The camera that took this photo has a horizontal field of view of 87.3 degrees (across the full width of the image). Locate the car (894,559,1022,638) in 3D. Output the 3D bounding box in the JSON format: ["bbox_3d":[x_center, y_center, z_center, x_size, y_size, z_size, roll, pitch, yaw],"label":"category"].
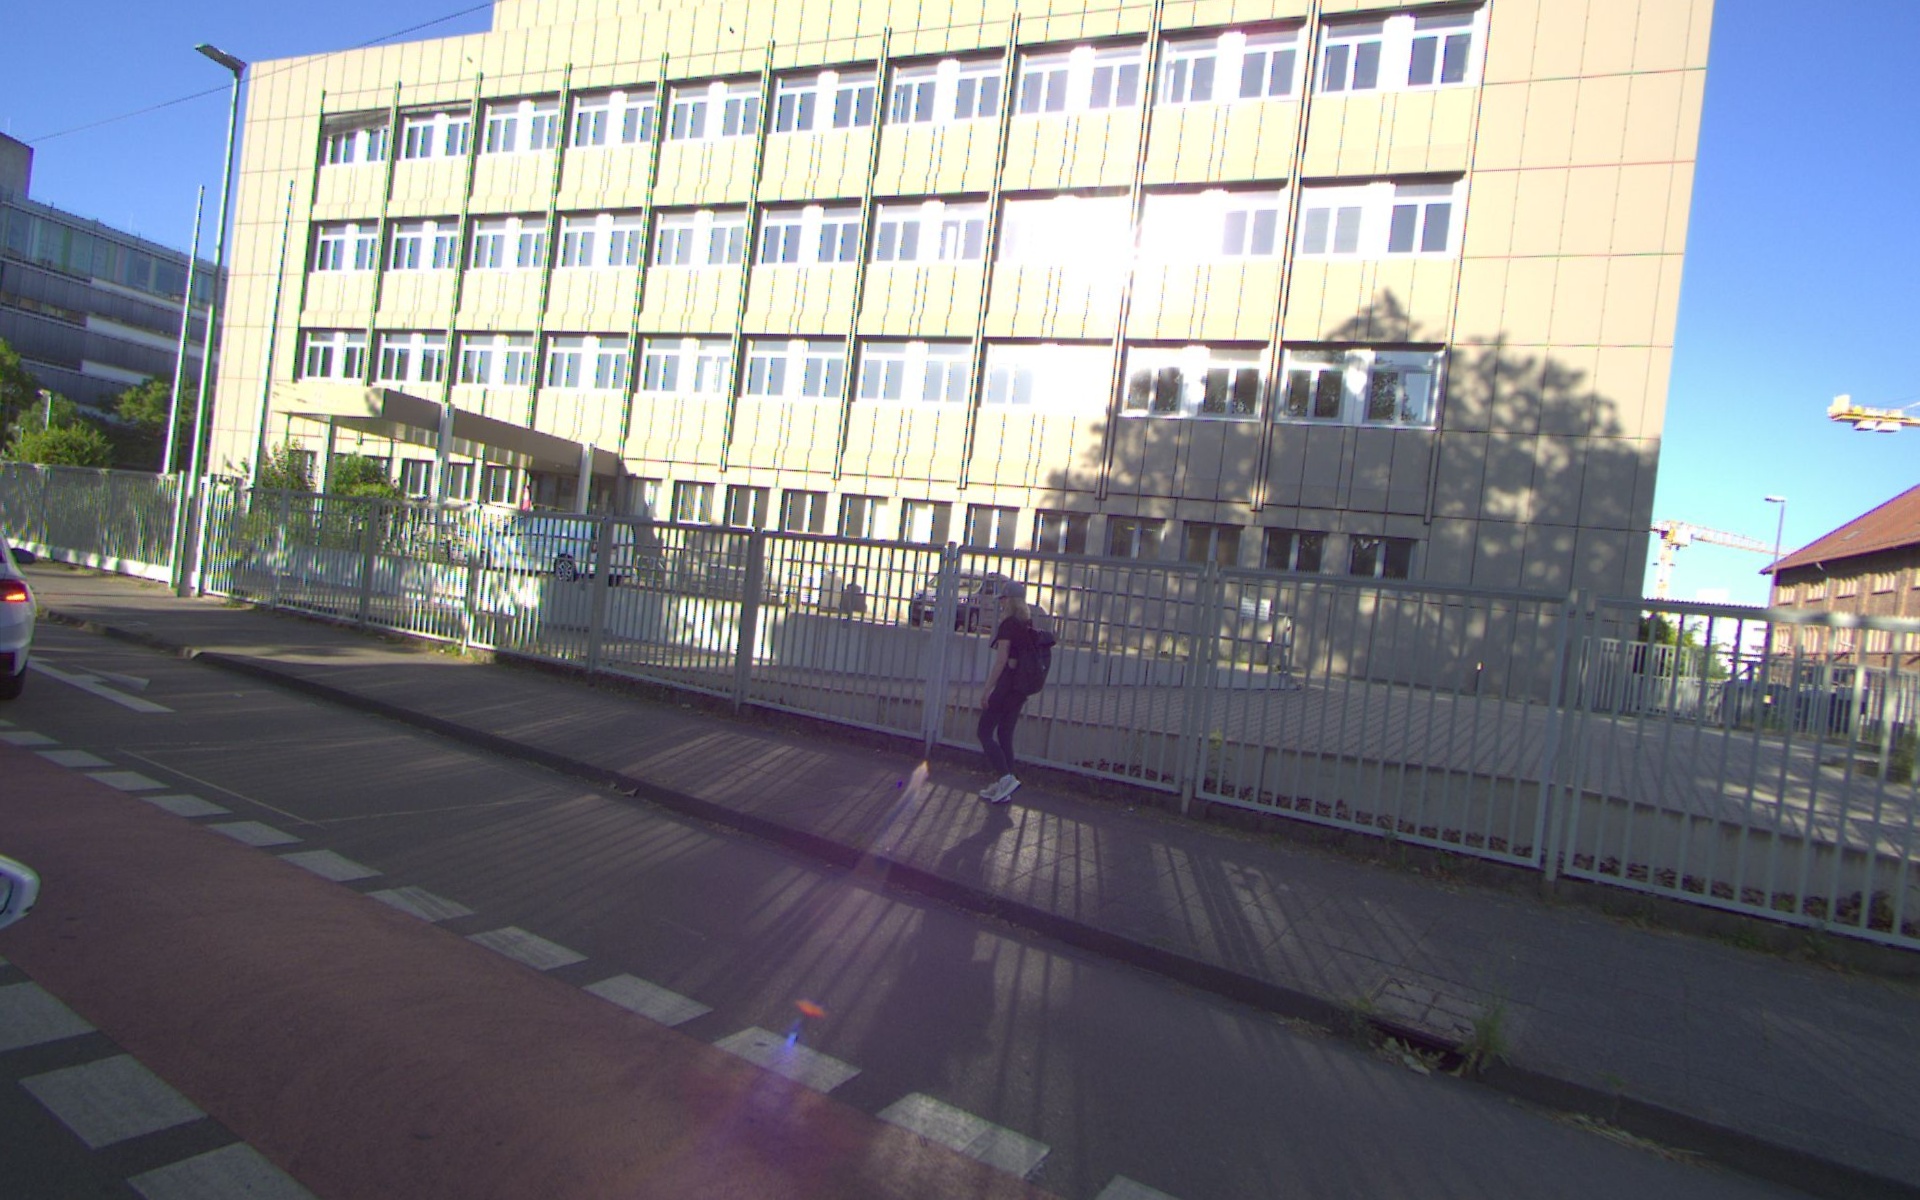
[{"bbox_3d":[0.047,0.021,27.939,1.957,1.739,4.265,7,0,21],"label":"car"}]

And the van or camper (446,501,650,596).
[{"bbox_3d":[-11.068,-1.379,27.026,4.907,1.933,1.986,7,1,21],"label":"van or camper"}]

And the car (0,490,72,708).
[{"bbox_3d":[-8.581,-0.220,7.844,3.924,1.519,1.801,6,-1,40],"label":"car"}]

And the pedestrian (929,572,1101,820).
[{"bbox_3d":[0.420,0.705,7.722,0.916,1.705,0.696,7,1,34],"label":"pedestrian"}]
